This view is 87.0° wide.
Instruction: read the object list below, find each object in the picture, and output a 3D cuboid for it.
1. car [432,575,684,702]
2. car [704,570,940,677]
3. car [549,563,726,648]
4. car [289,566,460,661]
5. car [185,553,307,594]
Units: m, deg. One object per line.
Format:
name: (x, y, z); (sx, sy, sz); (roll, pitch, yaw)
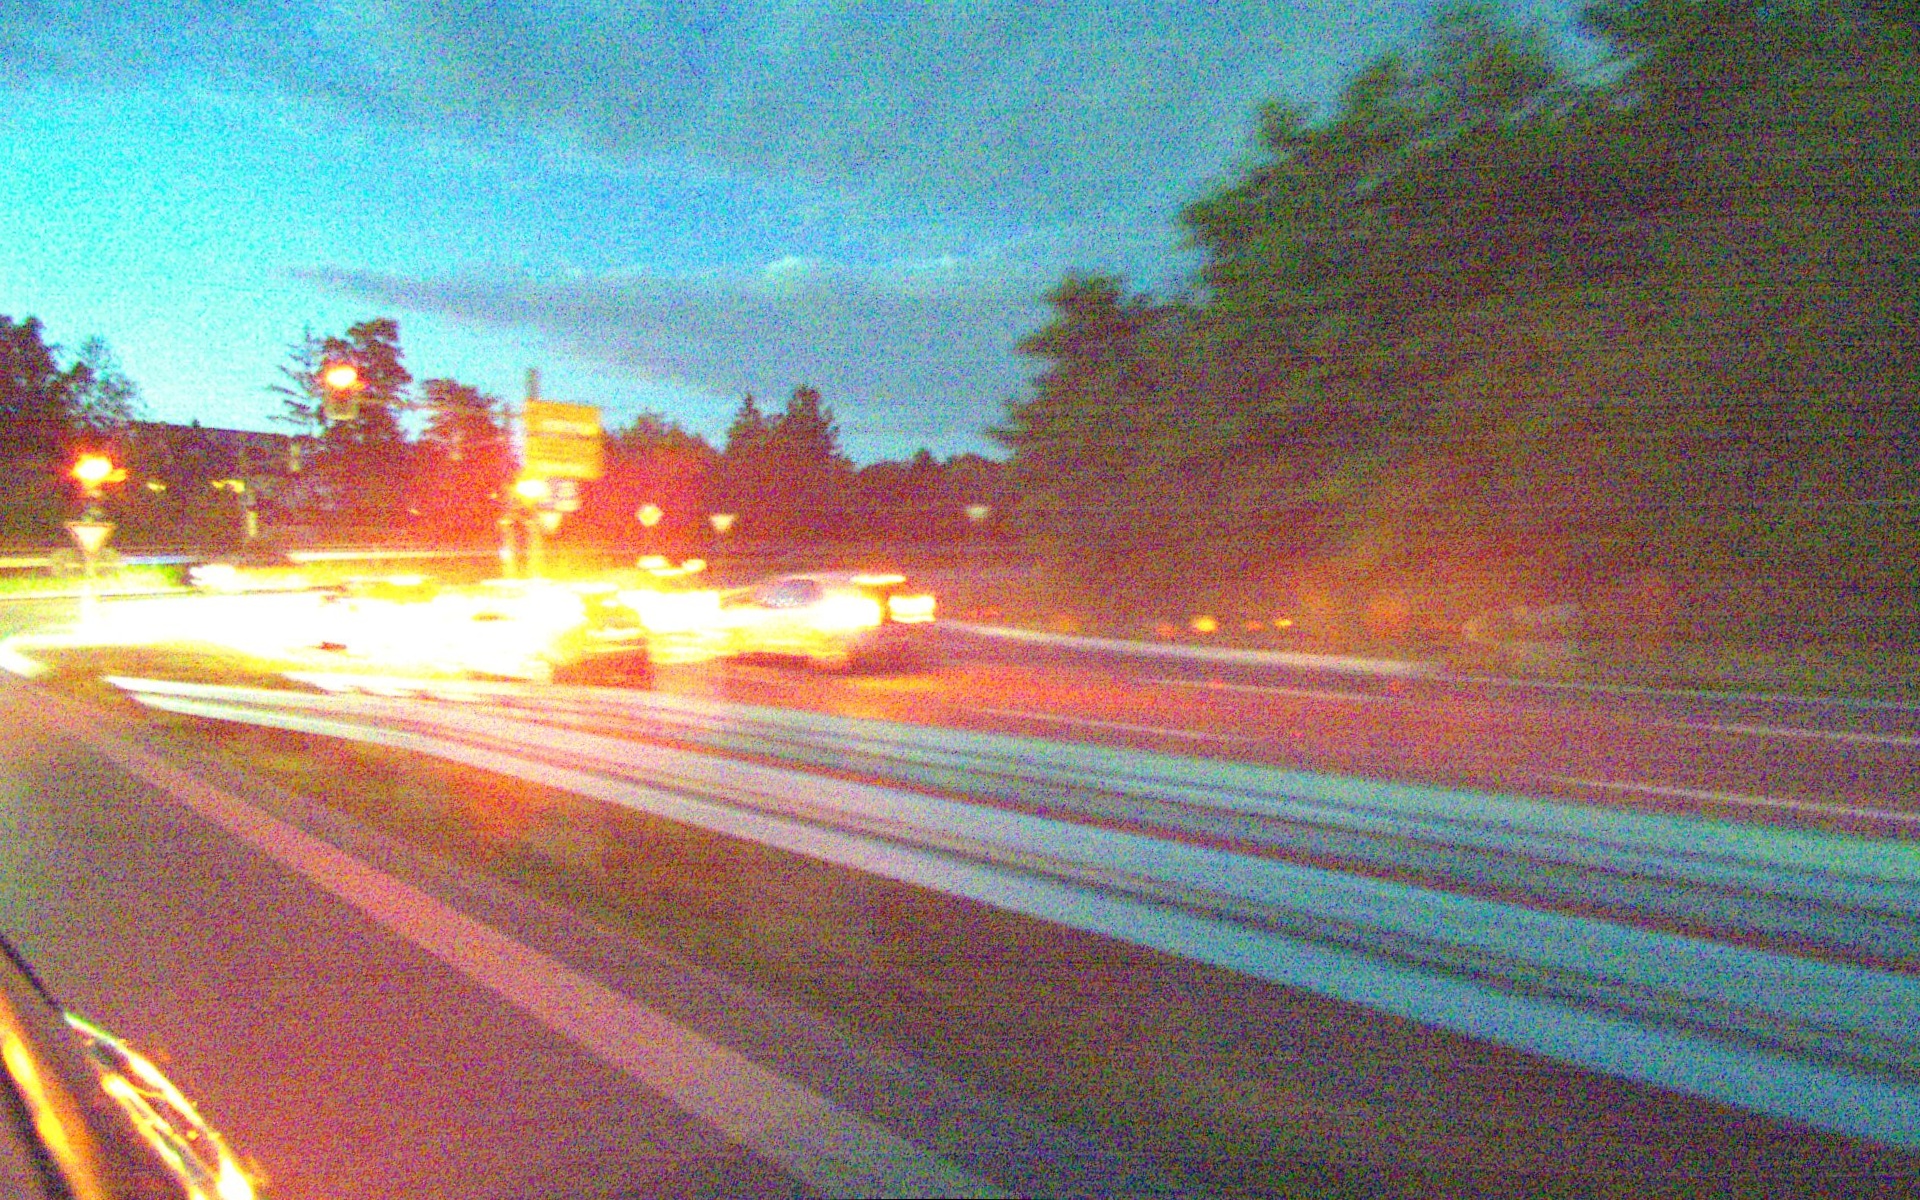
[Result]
car: (-5.605, 0.423, 13.871); (3.986, 1.455, 1.691); (0, 3, 44)
car: (-2.233, 0.270, 15.782); (3.814, 1.470, 1.665); (1, 2, 44)
car: (-6.687, 0.033, 20.816); (4.001, 1.471, 1.735); (3, 5, 44)
car: (-11.186, 0.169, 19.254); (3.870, 1.485, 1.681); (3, 6, 42)
car: (-27.639, -1.044, 39.257); (1.653, 1.461, 3.451); (0, 2, 33)
